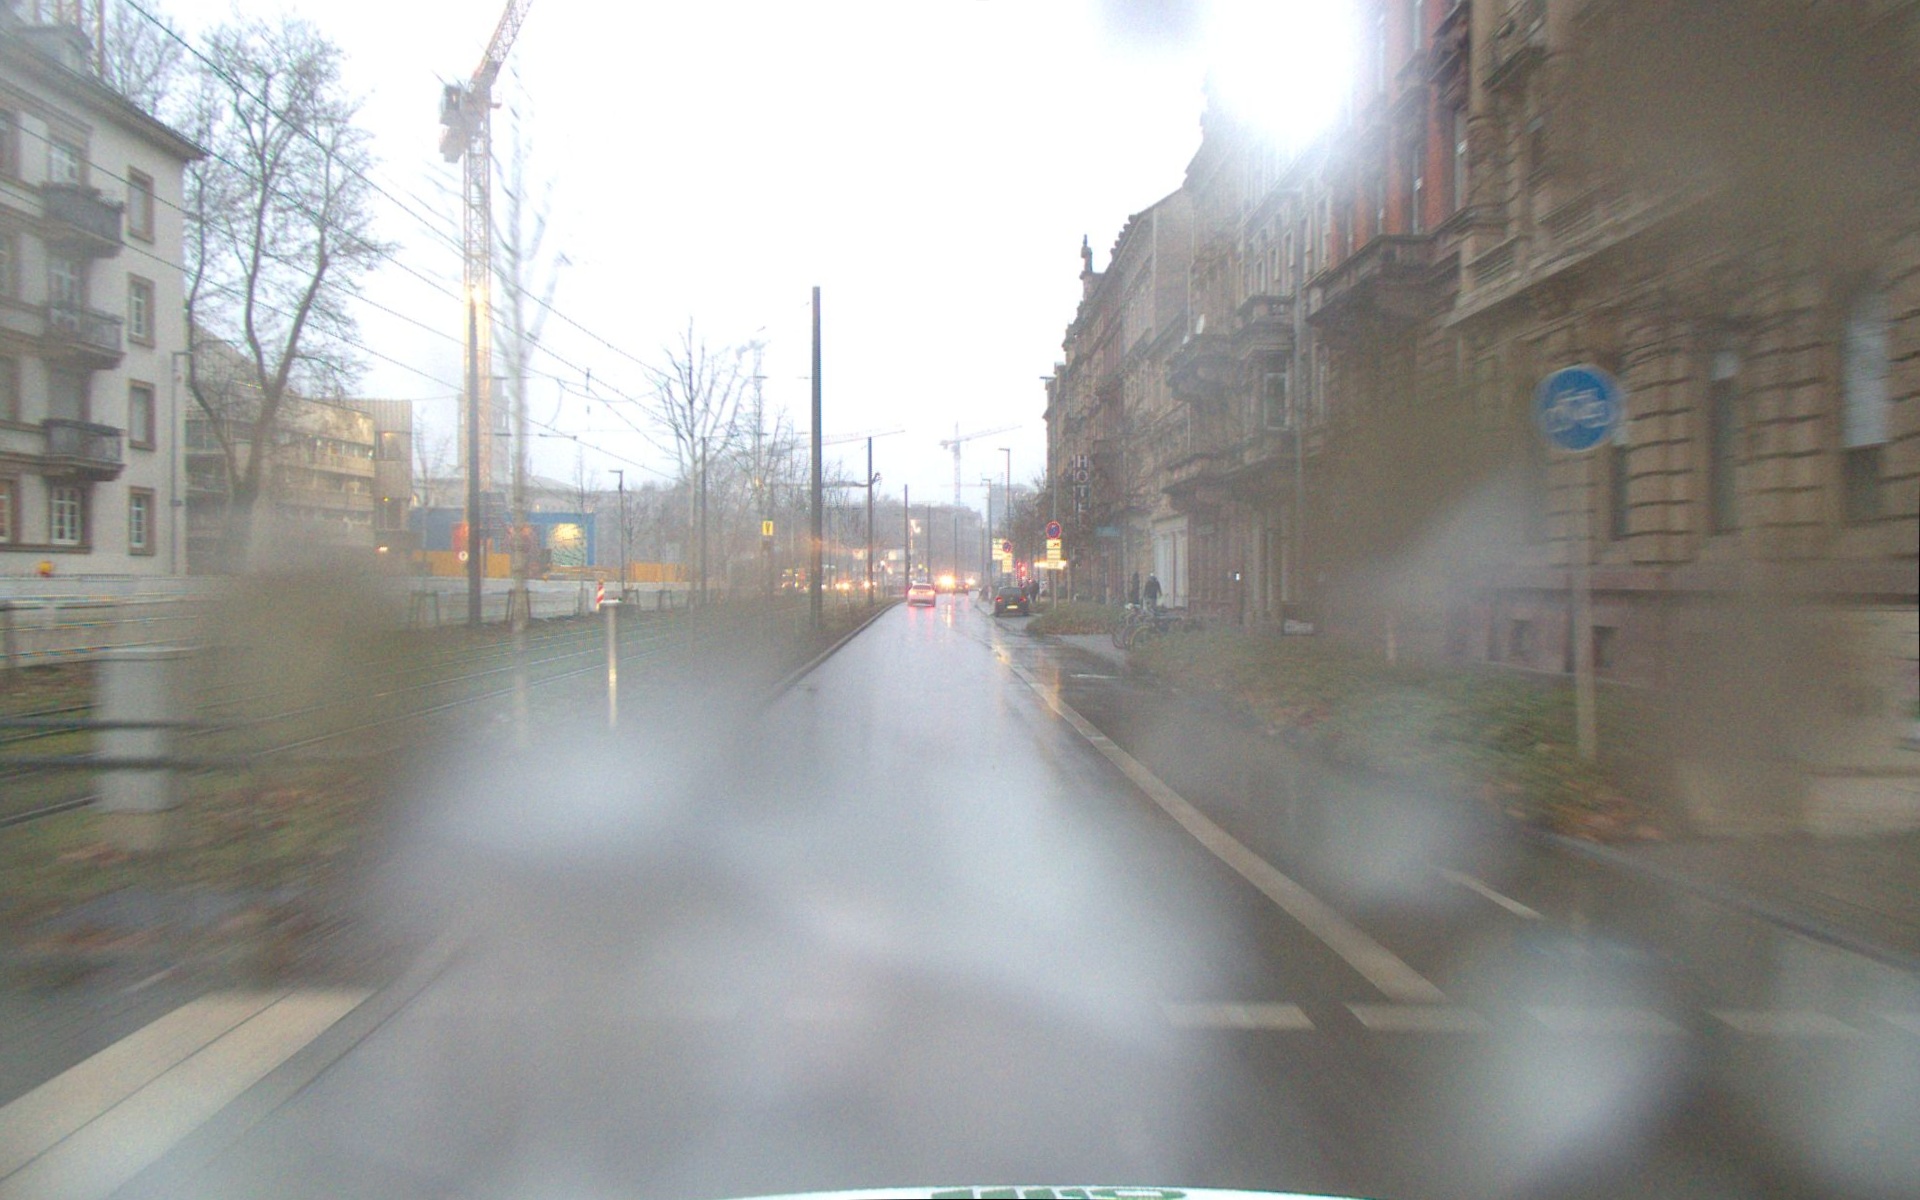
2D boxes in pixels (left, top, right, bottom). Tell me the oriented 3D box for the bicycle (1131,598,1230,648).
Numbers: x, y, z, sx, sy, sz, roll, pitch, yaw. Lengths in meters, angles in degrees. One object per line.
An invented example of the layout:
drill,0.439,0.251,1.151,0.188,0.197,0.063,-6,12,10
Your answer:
bicycle,4.883,0.511,36.706,2.106,1.076,0.525,-1,0,-8

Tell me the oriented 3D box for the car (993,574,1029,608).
car,2.556,-0.450,83.111,1.762,1.632,3.770,-1,1,1

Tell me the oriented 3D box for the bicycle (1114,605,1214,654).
bicycle,4.674,0.665,37.876,2.204,1.076,0.525,-1,0,-4

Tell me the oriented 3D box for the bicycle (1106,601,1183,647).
bicycle,4.510,0.584,40.473,1.814,1.077,0.471,-1,0,-4

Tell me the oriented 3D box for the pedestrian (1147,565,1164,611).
pedestrian,7.752,-0.485,65.598,0.590,1.817,0.528,-1,0,-1

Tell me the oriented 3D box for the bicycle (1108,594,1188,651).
bicycle,4.415,0.522,38.867,1.814,1.312,0.415,-1,0,-4

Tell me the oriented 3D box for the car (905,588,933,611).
car,-2.706,-0.036,110.127,1.747,1.492,3.149,0,1,0
